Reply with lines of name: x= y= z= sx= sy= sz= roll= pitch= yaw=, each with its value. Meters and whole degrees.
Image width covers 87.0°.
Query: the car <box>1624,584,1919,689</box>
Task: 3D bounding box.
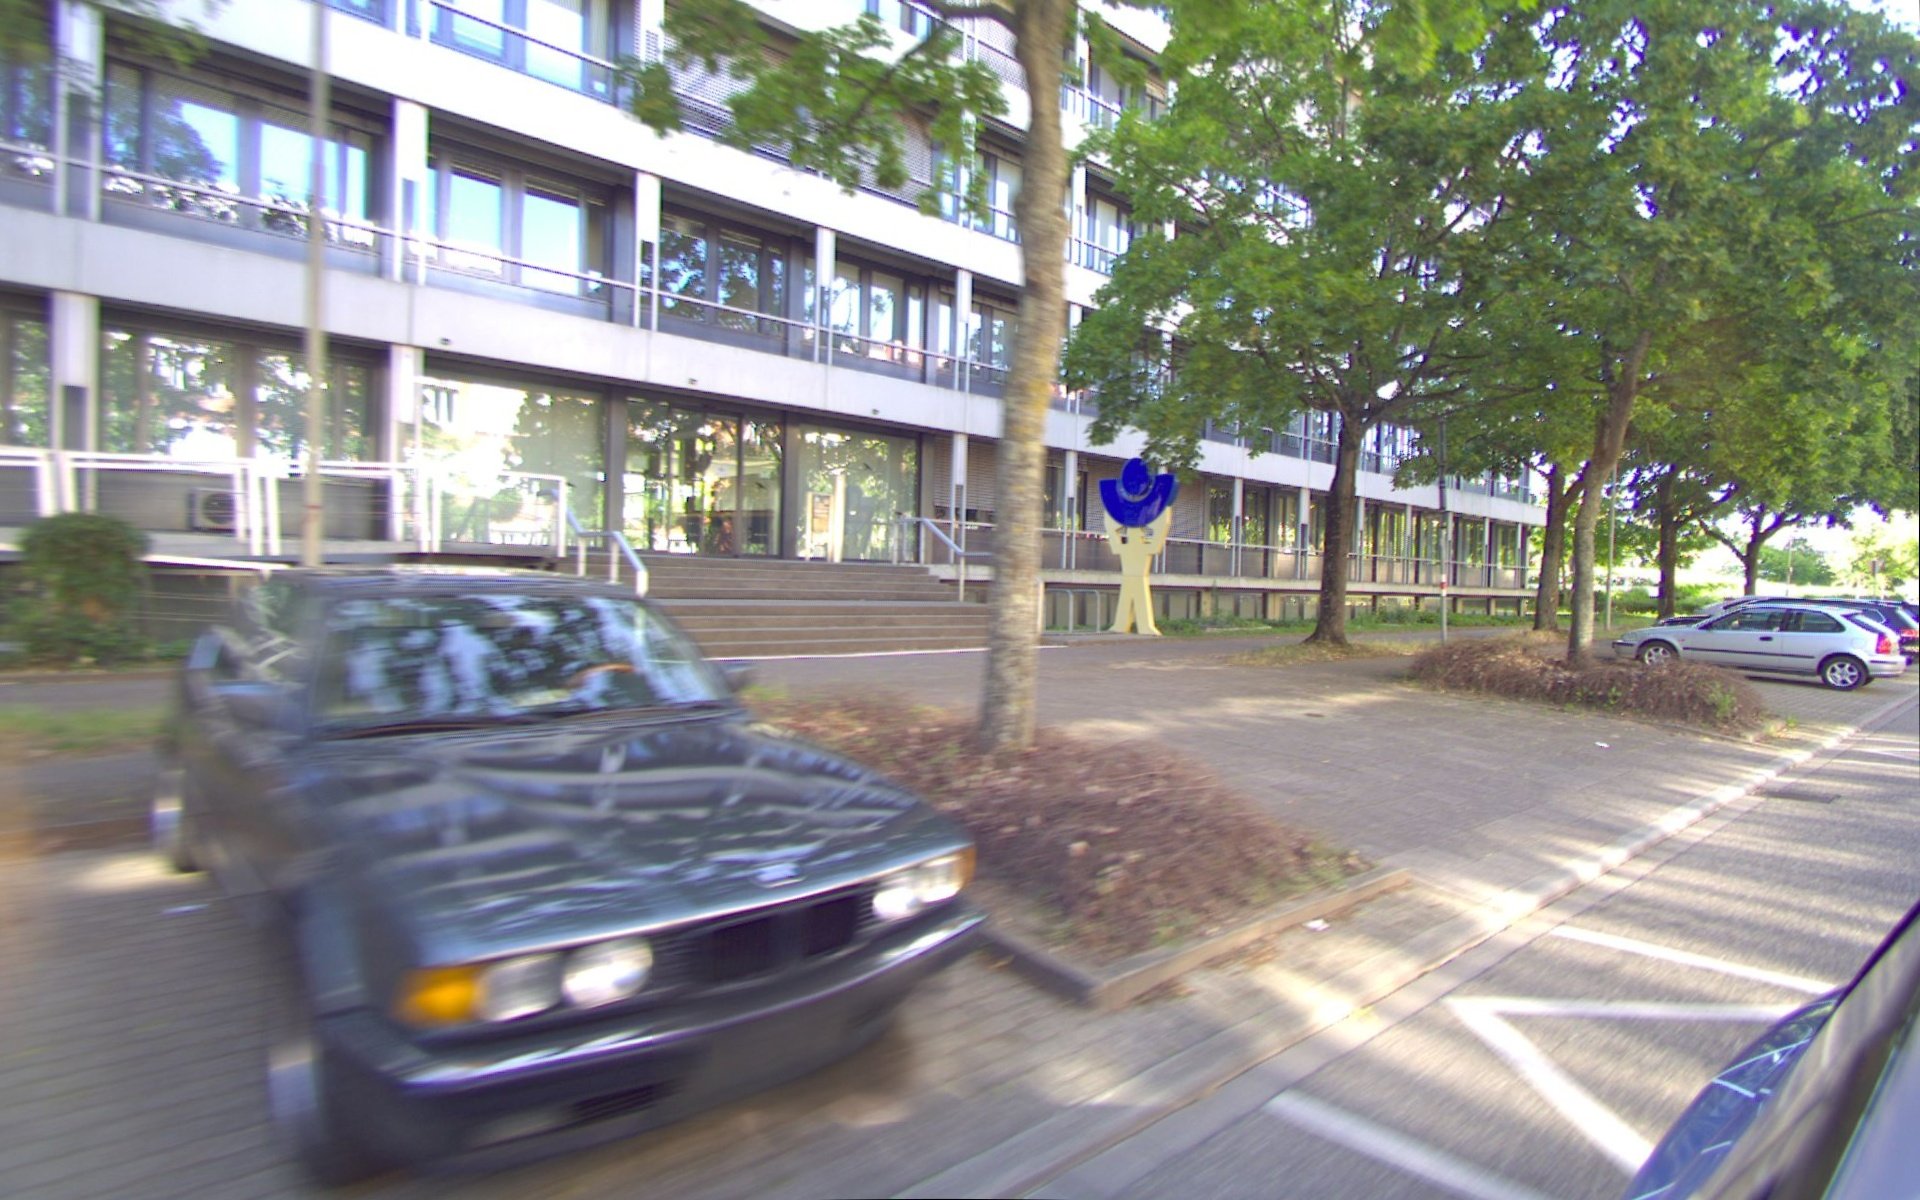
car: x=14.405 y=0.545 z=18.015 sx=1.680 sy=1.437 sz=3.979 roll=0 pitch=4 yaw=-41

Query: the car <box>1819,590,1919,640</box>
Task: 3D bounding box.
car: x=30.810 y=0.515 z=33.034 sx=1.886 sy=1.464 sz=3.851 roll=1 pitch=4 yaw=-37

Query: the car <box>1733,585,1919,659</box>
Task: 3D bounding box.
car: x=21.757 y=0.503 z=25.226 sx=1.591 sy=1.511 sz=3.746 roll=0 pitch=4 yaw=-45

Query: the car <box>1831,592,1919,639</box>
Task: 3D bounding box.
car: x=32.853 y=0.574 z=34.472 sx=1.716 sy=1.493 sz=4.588 roll=0 pitch=2 yaw=-41

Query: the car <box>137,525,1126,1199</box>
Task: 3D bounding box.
car: x=-1.887 y=0.497 z=4.109 sx=1.997 sy=1.437 sz=4.834 roll=0 pitch=4 yaw=-42

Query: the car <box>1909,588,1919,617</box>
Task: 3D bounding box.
car: x=54.793 y=0.316 z=55.051 sx=4.552 sy=1.533 sz=1.951 roll=6 pitch=5 yaw=44

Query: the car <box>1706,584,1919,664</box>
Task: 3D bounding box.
car: x=20.212 y=0.506 z=23.579 sx=4.288 sy=1.511 sz=1.972 roll=5 pitch=4 yaw=44

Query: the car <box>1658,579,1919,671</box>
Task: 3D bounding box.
car: x=17.901 y=0.463 z=21.631 sx=1.733 sy=1.511 sz=4.599 roll=0 pitch=5 yaw=-43

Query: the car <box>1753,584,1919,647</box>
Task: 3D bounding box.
car: x=26.505 y=0.441 z=29.943 sx=1.890 sy=1.561 sz=4.520 roll=0 pitch=4 yaw=-45

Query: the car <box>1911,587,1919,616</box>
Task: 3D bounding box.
car: x=52.860 y=0.230 z=53.173 sx=1.671 sy=1.533 sz=3.959 roll=0 pitch=5 yaw=-39

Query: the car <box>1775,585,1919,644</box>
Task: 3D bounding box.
car: x=28.490 y=0.456 z=31.450 sx=1.886 sy=1.561 sz=4.530 roll=1 pitch=4 yaw=-37
